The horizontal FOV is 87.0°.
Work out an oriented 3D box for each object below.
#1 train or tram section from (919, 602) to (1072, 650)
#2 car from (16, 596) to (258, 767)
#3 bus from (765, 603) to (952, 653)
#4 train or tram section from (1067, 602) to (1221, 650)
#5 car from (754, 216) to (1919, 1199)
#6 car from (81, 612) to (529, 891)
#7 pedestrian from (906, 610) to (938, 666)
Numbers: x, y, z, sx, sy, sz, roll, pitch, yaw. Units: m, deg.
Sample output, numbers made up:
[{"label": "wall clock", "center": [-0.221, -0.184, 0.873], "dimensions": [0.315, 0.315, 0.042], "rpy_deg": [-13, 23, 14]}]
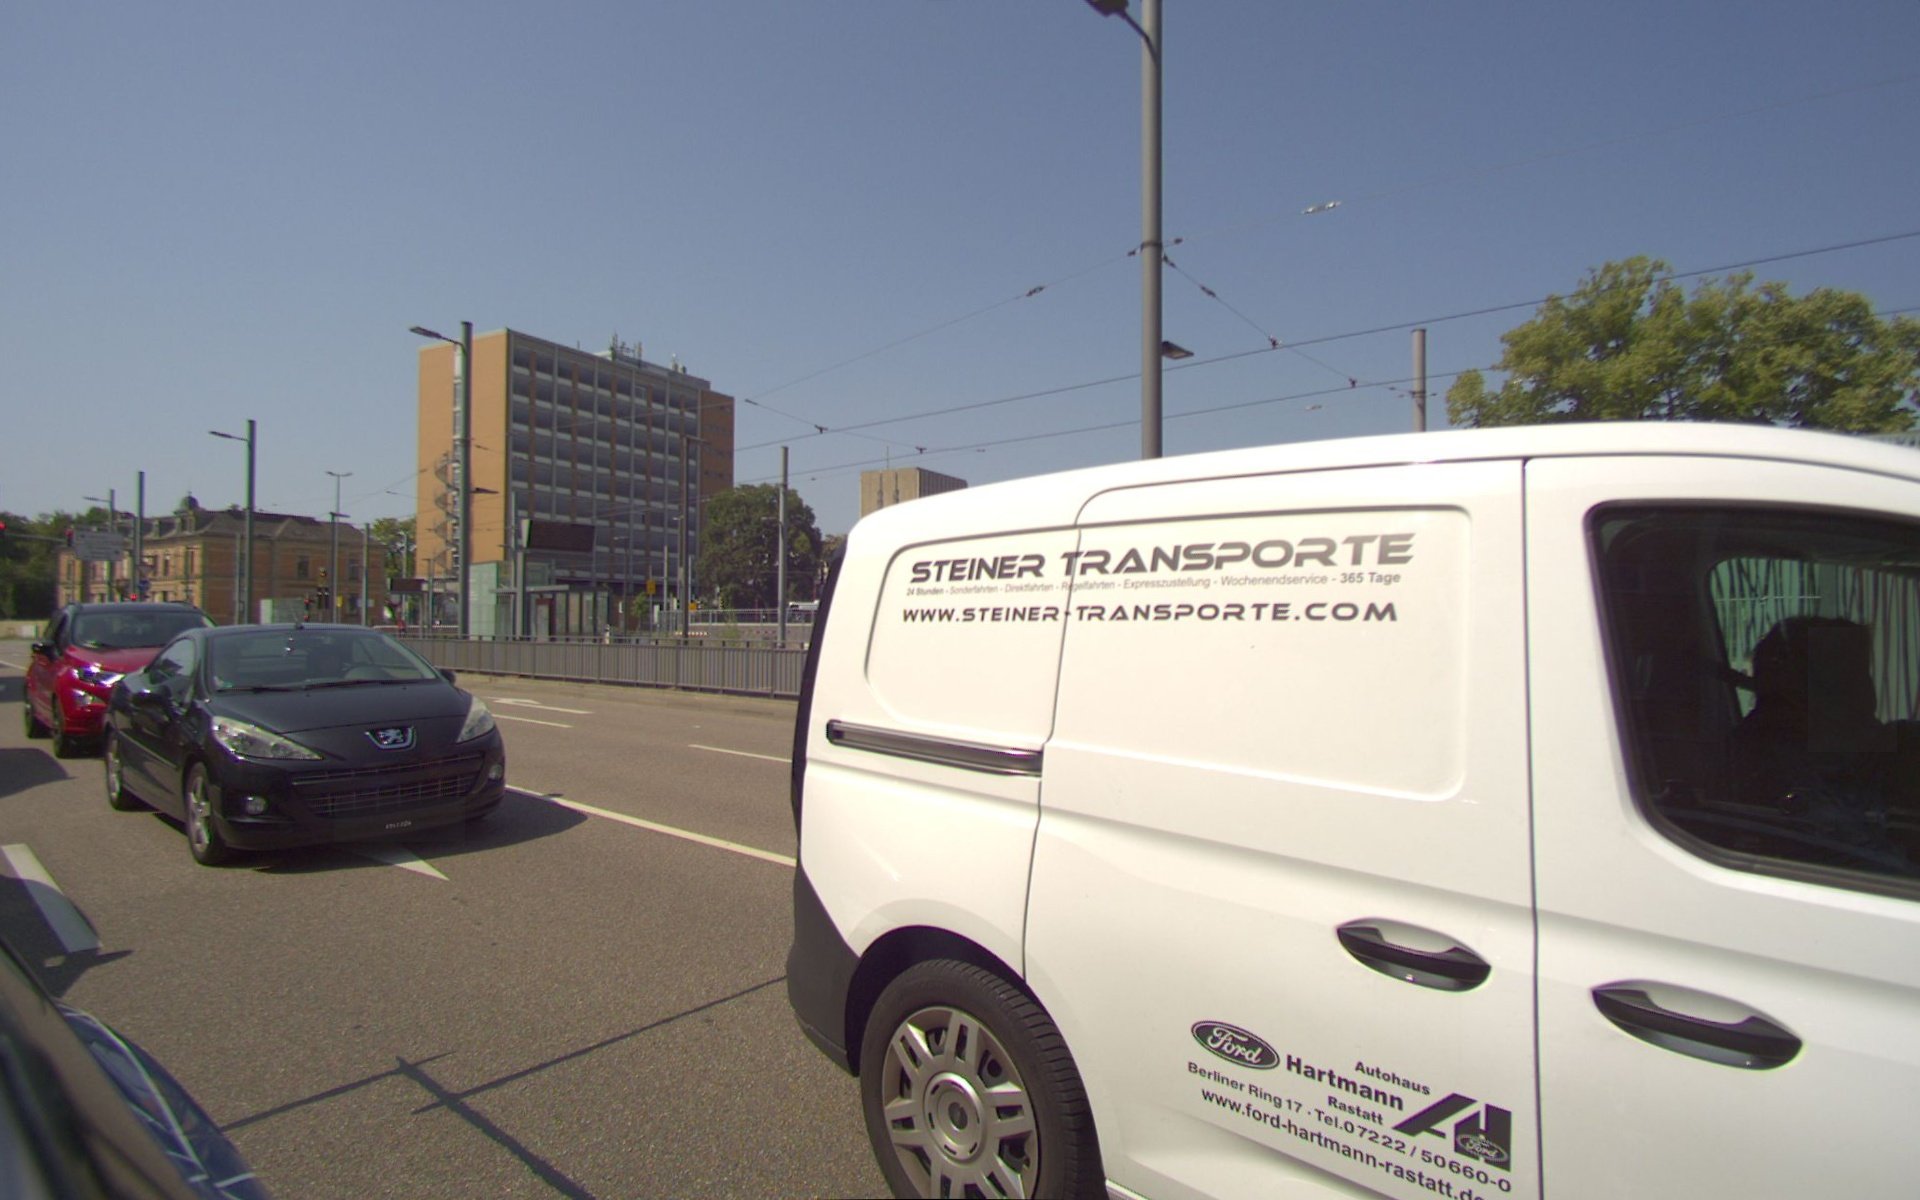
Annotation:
[{"label": "train or tram section", "center": [2.803, 2.088, 81.644], "dimensions": [12.180, 3.794, 2.002], "rpy_deg": [0, -2, -4]}, {"label": "car", "center": [-9.554, 0.815, 11.638], "dimensions": [3.967, 1.633, 1.612], "rpy_deg": [-1, -1, 43]}, {"label": "bus", "center": [-7.307, 1.997, 73.627], "dimensions": [13.205, 3.319, 3.354], "rpy_deg": [-1, 0, -4]}, {"label": "train or tram section", "center": [14.960, 2.149, 82.545], "dimensions": [12.180, 3.794, 2.002], "rpy_deg": [0, -2, -4]}, {"label": "car", "center": [1.626, 0.479, 1.853], "dimensions": [4.237, 1.834, 1.729], "rpy_deg": [-1, -1, 41]}, {"label": "car", "center": [-4.743, 0.825, 7.118], "dimensions": [3.799, 1.424, 1.671], "rpy_deg": [-1, -1, 41]}, {"label": "pedestrian", "center": [-1.247, 1.241, 32.992], "dimensions": [0.761, 1.801, 0.735], "rpy_deg": [-2, -3, 42]}]
